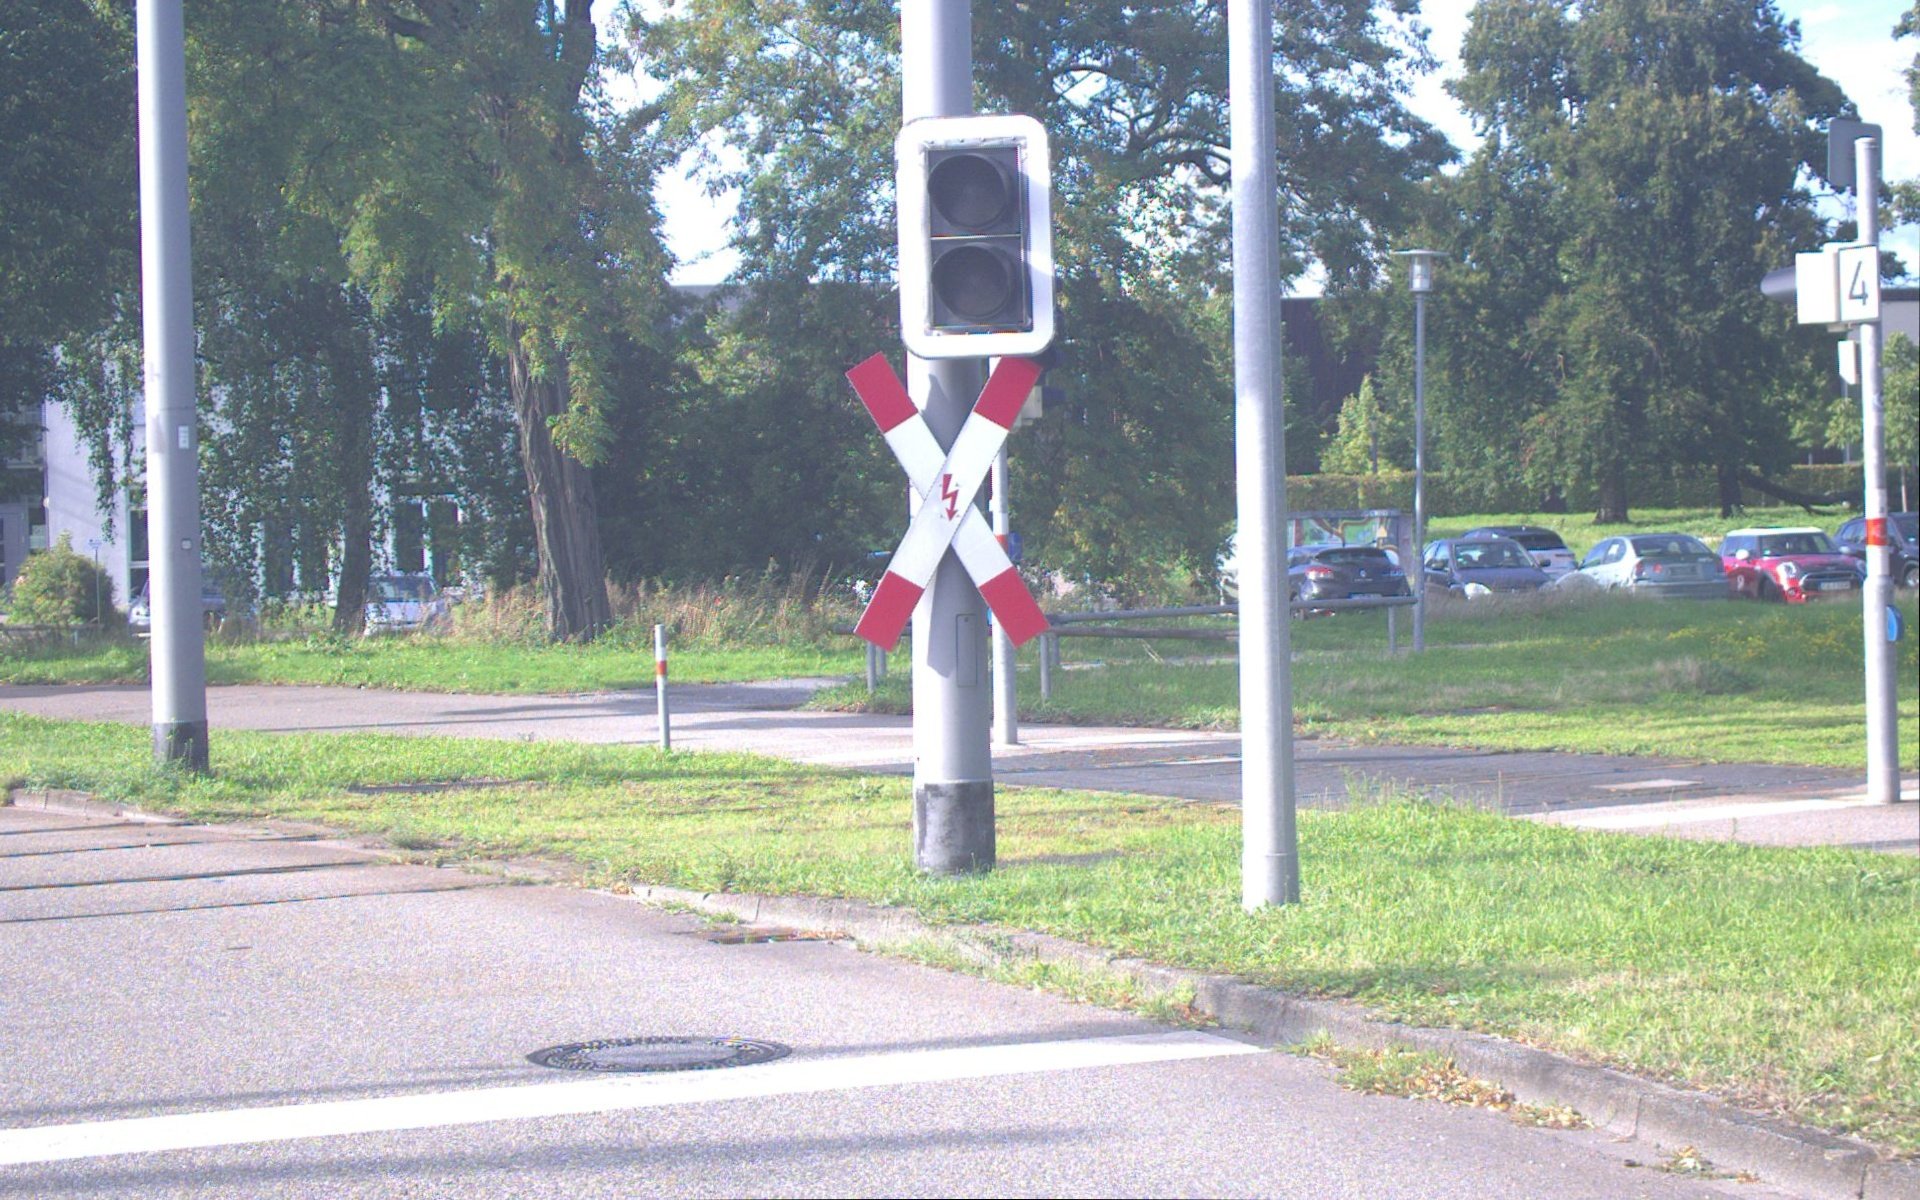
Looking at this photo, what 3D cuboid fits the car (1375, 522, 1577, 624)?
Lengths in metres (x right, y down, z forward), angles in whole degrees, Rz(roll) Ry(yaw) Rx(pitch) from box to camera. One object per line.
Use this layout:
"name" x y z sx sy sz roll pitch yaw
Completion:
"car" 8.217 -0.448 55.172 1.854 1.510 4.749 -2 1 -9

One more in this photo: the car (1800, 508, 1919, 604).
"car" 15.656 -0.742 56.433 1.854 1.510 4.946 -2 1 -9

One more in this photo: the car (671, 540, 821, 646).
"car" -3.344 -0.136 53.005 1.854 1.510 4.735 -2 1 -9

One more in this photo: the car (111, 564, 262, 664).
"car" -11.586 0.178 51.704 1.854 1.376 4.516 -2 1 -9

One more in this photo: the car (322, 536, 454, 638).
"car" -8.694 -0.225 52.463 1.854 1.435 4.735 -2 1 -9

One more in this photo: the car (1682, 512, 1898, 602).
"car" 13.520 -0.703 56.279 1.854 1.358 4.470 -2 1 -9

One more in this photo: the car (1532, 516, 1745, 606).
"car" 10.980 -0.637 56.007 1.854 1.353 4.835 -2 1 -9

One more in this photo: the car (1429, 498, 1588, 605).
"car" 10.774 -0.922 67.815 1.871 2.007 4.811 0 0 -6

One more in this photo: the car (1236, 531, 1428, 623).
"car" 5.852 -0.382 54.690 1.854 1.354 4.735 -2 1 -9
